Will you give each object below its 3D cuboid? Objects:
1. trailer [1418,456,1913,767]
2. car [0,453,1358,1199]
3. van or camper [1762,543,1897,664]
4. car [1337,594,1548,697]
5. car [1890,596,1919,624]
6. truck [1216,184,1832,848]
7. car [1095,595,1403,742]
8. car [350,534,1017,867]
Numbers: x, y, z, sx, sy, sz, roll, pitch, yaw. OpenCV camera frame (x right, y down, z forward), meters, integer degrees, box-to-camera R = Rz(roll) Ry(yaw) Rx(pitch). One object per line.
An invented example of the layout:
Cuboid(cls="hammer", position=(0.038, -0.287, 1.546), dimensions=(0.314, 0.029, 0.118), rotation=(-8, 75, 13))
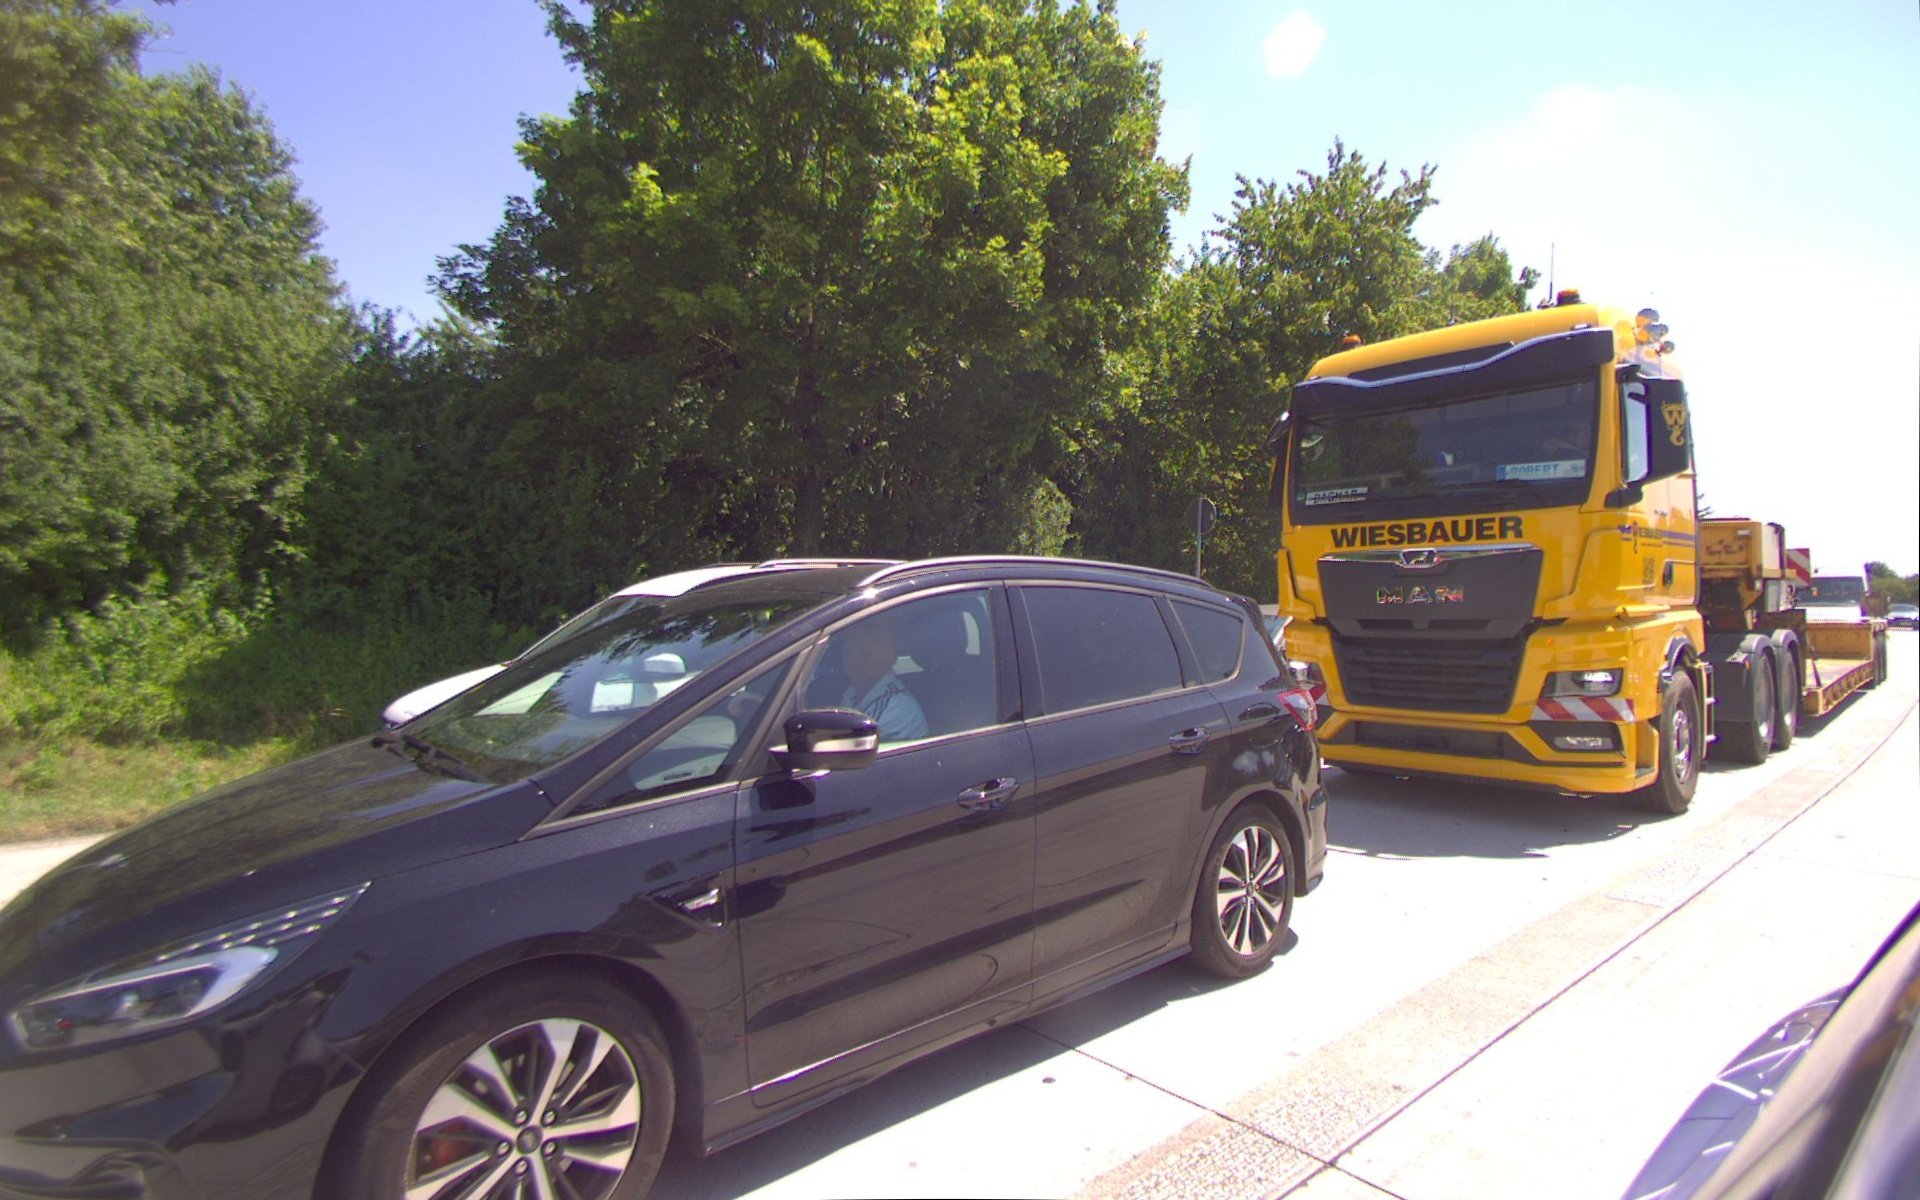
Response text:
Cuboid(cls="trailer", position=(11.706, 0.076, 15.236), dimensions=(16.084, 2.626, 3.029), rotation=(0, 0, -44))
Cuboid(cls="car", position=(-0.483, 0.575, 3.690), dimensions=(4.568, 1.660, 1.786), rotation=(-1, 0, -42))
Cuboid(cls="van or camper", position=(21.317, 0.040, 24.700), dimensions=(5.812, 2.606, 2.064), rotation=(-1, 0, -45))
Cuboid(cls="car", position=(8.190, 0.645, 16.964), dimensions=(4.523, 1.480, 1.768), rotation=(-1, 0, -45))
Cuboid(cls="car", position=(53.217, 0.547, 56.396), dimensions=(1.886, 1.483, 3.936), rotation=(0, 1, 45))
Cuboid(cls="truck", position=(5.712, -0.522, 9.472), dimensions=(7.346, 3.820, 3.016), rotation=(-1, 0, -44))
Cuboid(cls="car", position=(3.717, 0.699, 12.558), dimensions=(4.292, 1.480, 1.769), rotation=(-1, 1, -44))
Cuboid(cls="car", position=(-1.826, 0.521, 7.831), dimensions=(4.712, 1.830, 1.769), rotation=(-1, 0, -43))
